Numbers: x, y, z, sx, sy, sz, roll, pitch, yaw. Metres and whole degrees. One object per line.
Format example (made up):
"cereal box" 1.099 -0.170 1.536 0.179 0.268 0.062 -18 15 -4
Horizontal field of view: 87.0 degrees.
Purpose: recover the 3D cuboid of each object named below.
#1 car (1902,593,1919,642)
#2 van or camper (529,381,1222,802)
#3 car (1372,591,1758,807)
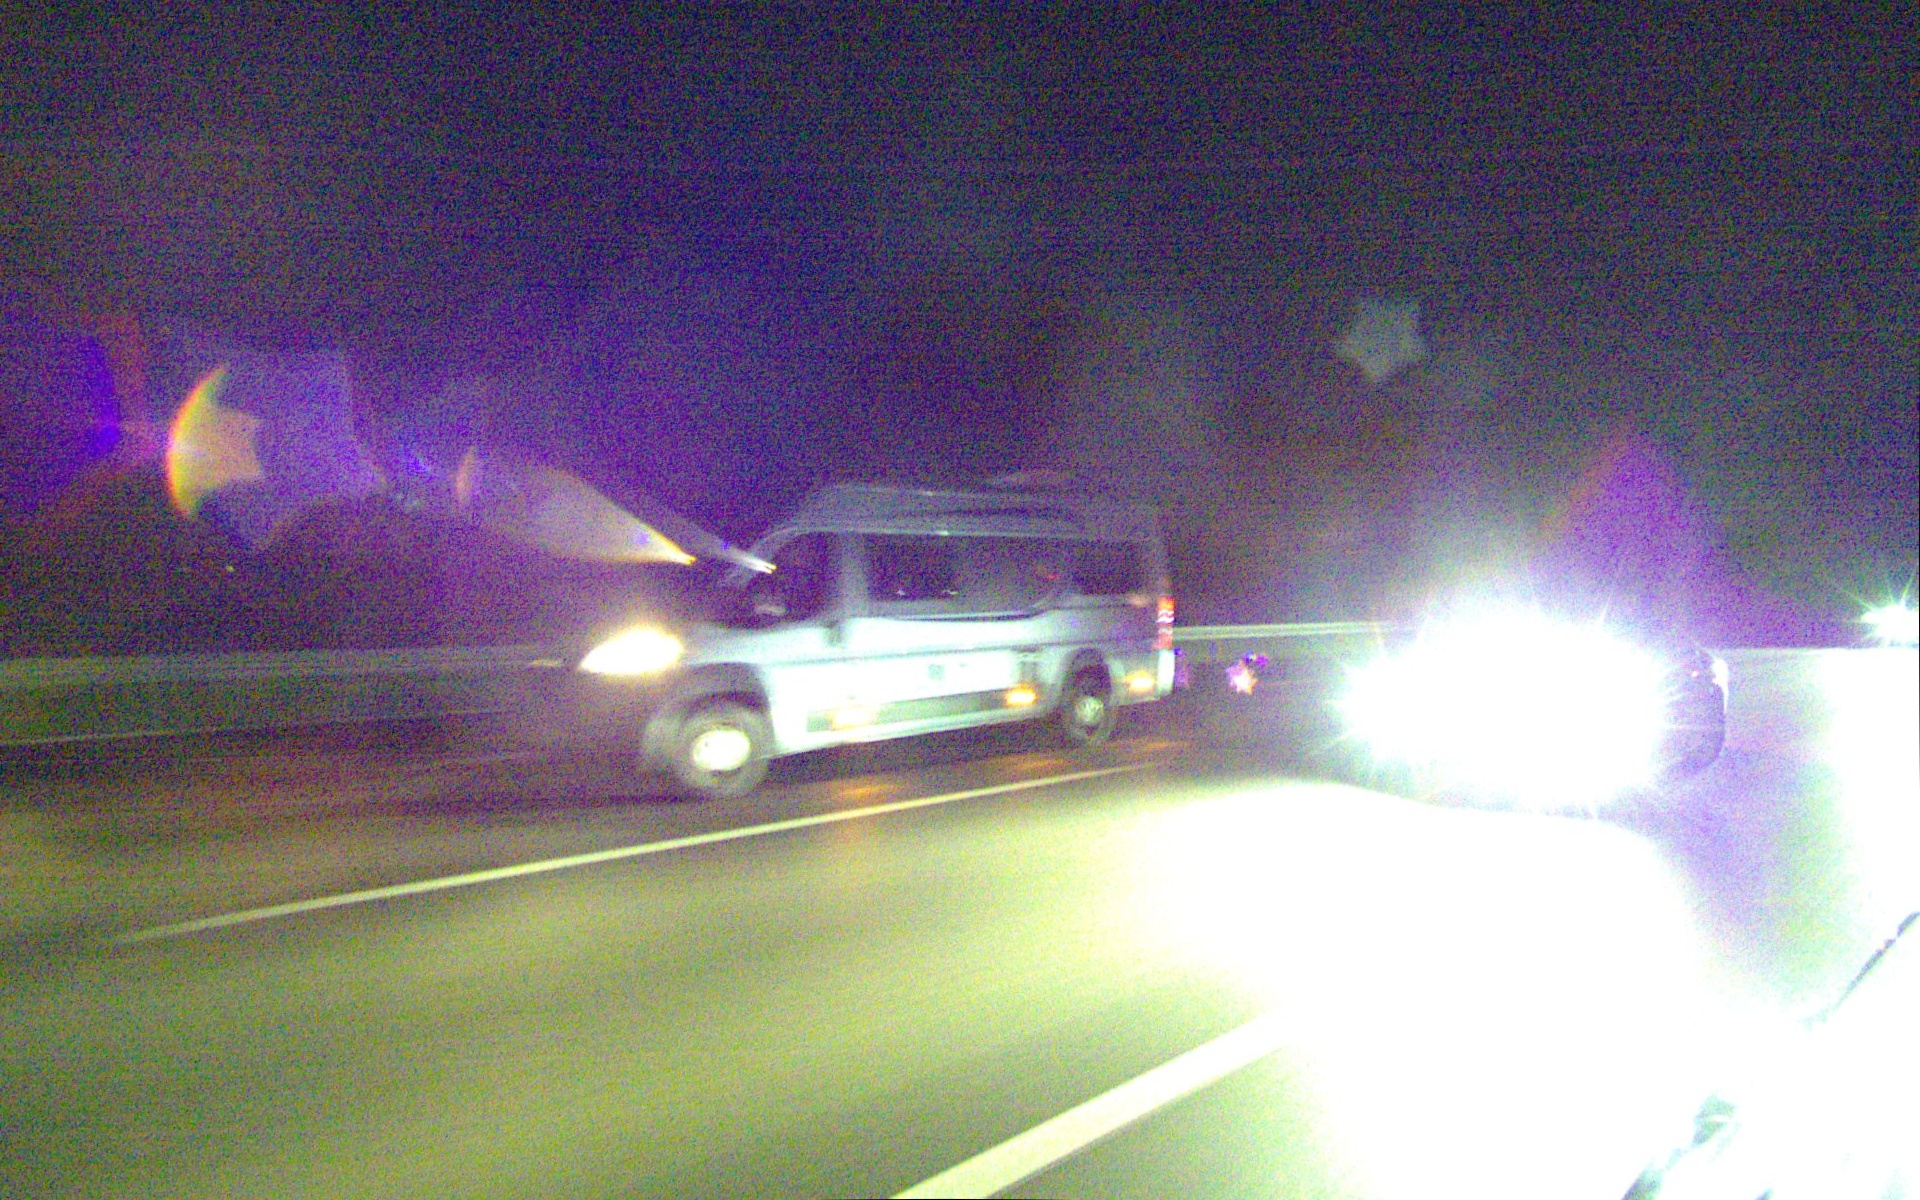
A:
"car" 32.325 0.575 33.052 4.151 1.560 1.794 0 1 -41
"van or camper" -0.353 -0.059 9.792 6.685 2.807 2.211 0 0 -41
"car" 5.510 0.671 8.991 4.151 1.431 1.690 0 2 -41
